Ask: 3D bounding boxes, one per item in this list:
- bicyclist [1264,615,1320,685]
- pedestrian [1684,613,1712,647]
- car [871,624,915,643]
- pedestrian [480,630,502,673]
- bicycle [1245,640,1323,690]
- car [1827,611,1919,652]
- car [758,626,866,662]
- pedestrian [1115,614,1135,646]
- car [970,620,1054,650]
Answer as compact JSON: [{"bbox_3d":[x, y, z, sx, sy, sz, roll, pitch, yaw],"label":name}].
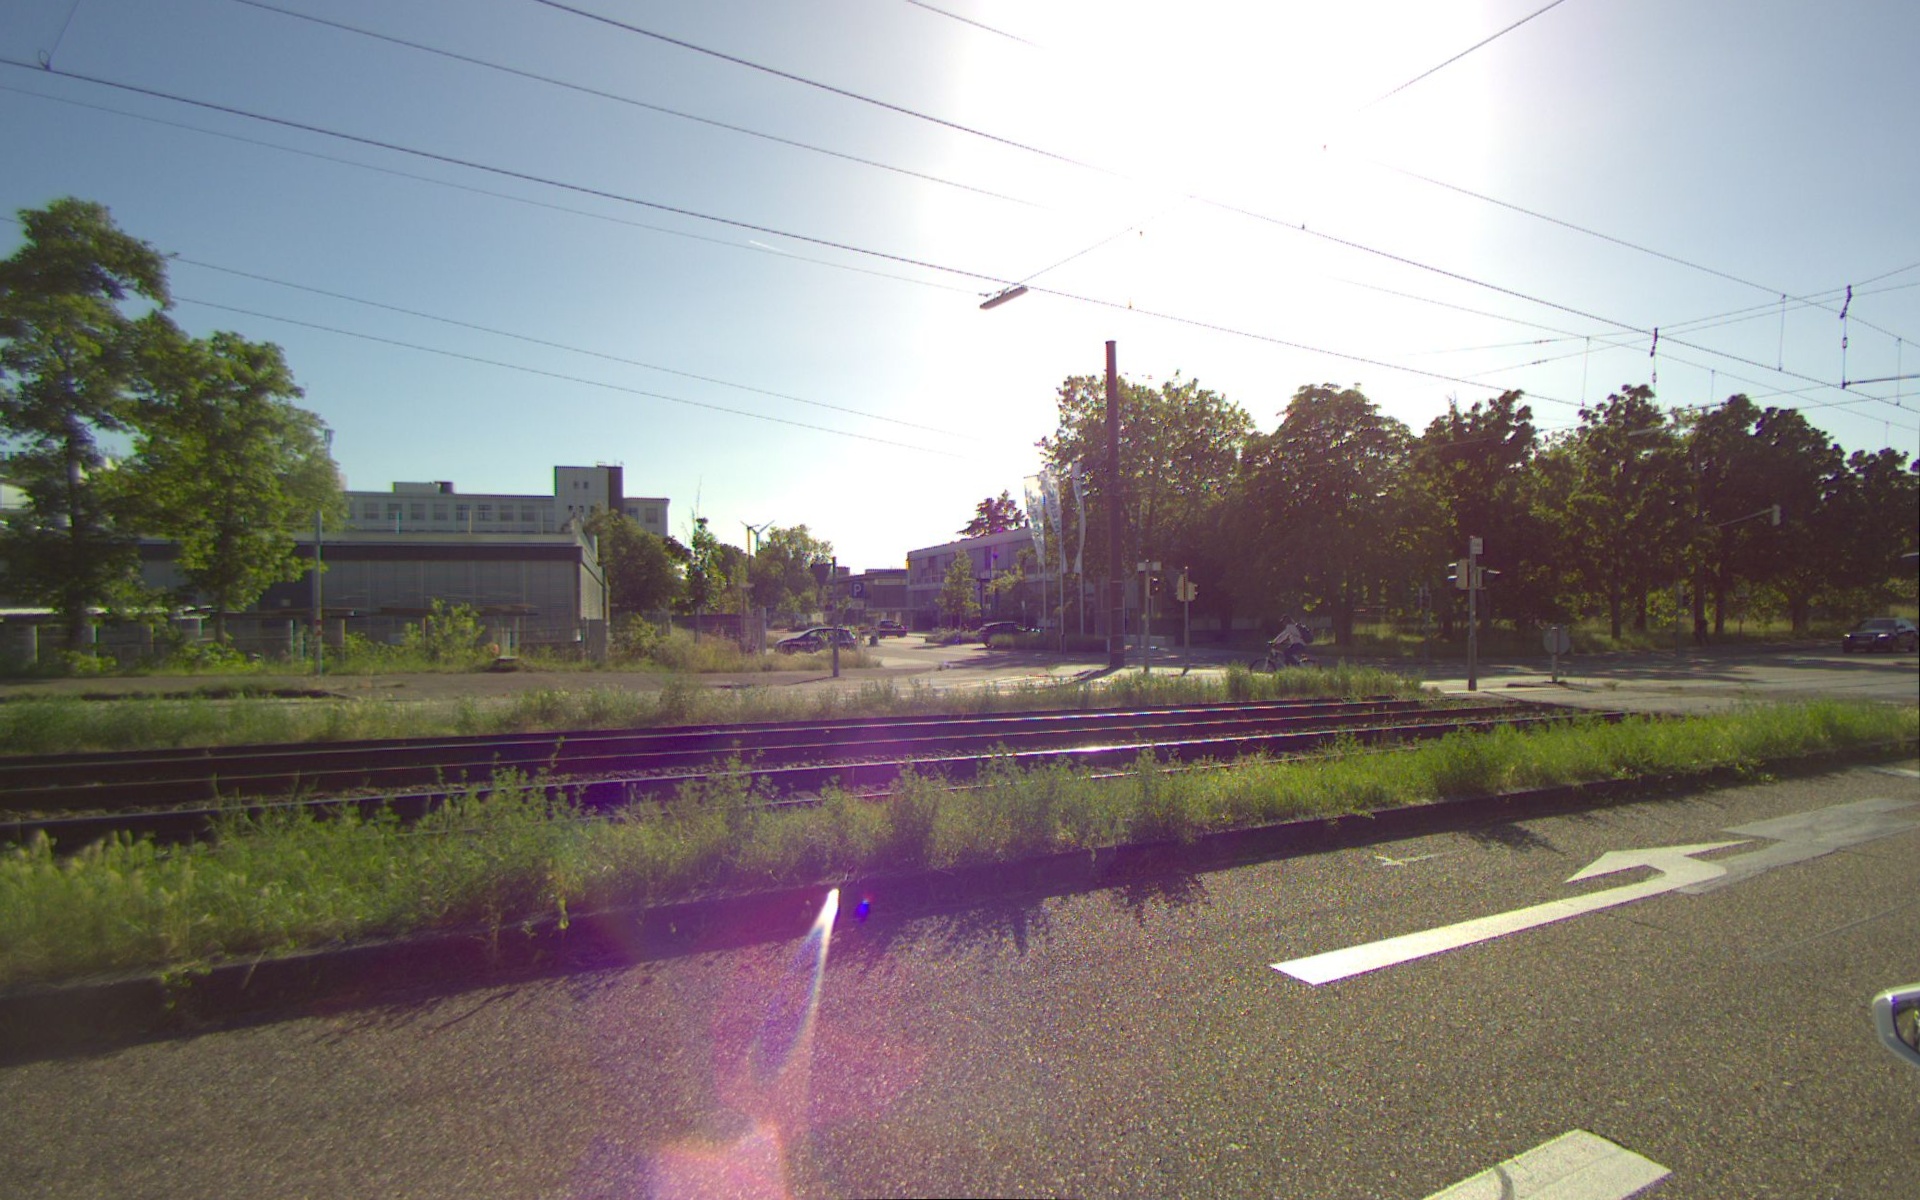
[{"bbox_3d":[7.977,1.179,24.177,1.211,1.614,0.805,1,0,14],"label":"bicyclist"},{"bbox_3d":[38.714,1.559,52.713,0.919,1.757,0.761,0,0,-2],"label":"pedestrian"},{"bbox_3d":[-5.979,3.002,89.654,3.566,1.611,1.792,1,0,-23],"label":"car"},{"bbox_3d":[-14.694,1.602,31.472,0.432,1.318,0.441,0,0,18],"label":"pedestrian"},{"bbox_3d":[7.790,1.561,24.235,1.745,1.117,0.699,1,0,14],"label":"bicycle"},{"bbox_3d":[44.039,1.516,48.416,4.739,1.834,2.082,0,-2,-32],"label":"car"},{"bbox_3d":[-7.672,2.251,51.924,5.210,1.772,2.164,1,0,-19],"label":"car"},{"bbox_3d":[9.433,1.695,57.504,0.807,1.811,0.950,0,0,-16],"label":"pedestrian"},{"bbox_3d":[3.208,2.132,61.718,4.768,1.751,2.041,1,0,-21],"label":"car"}]
